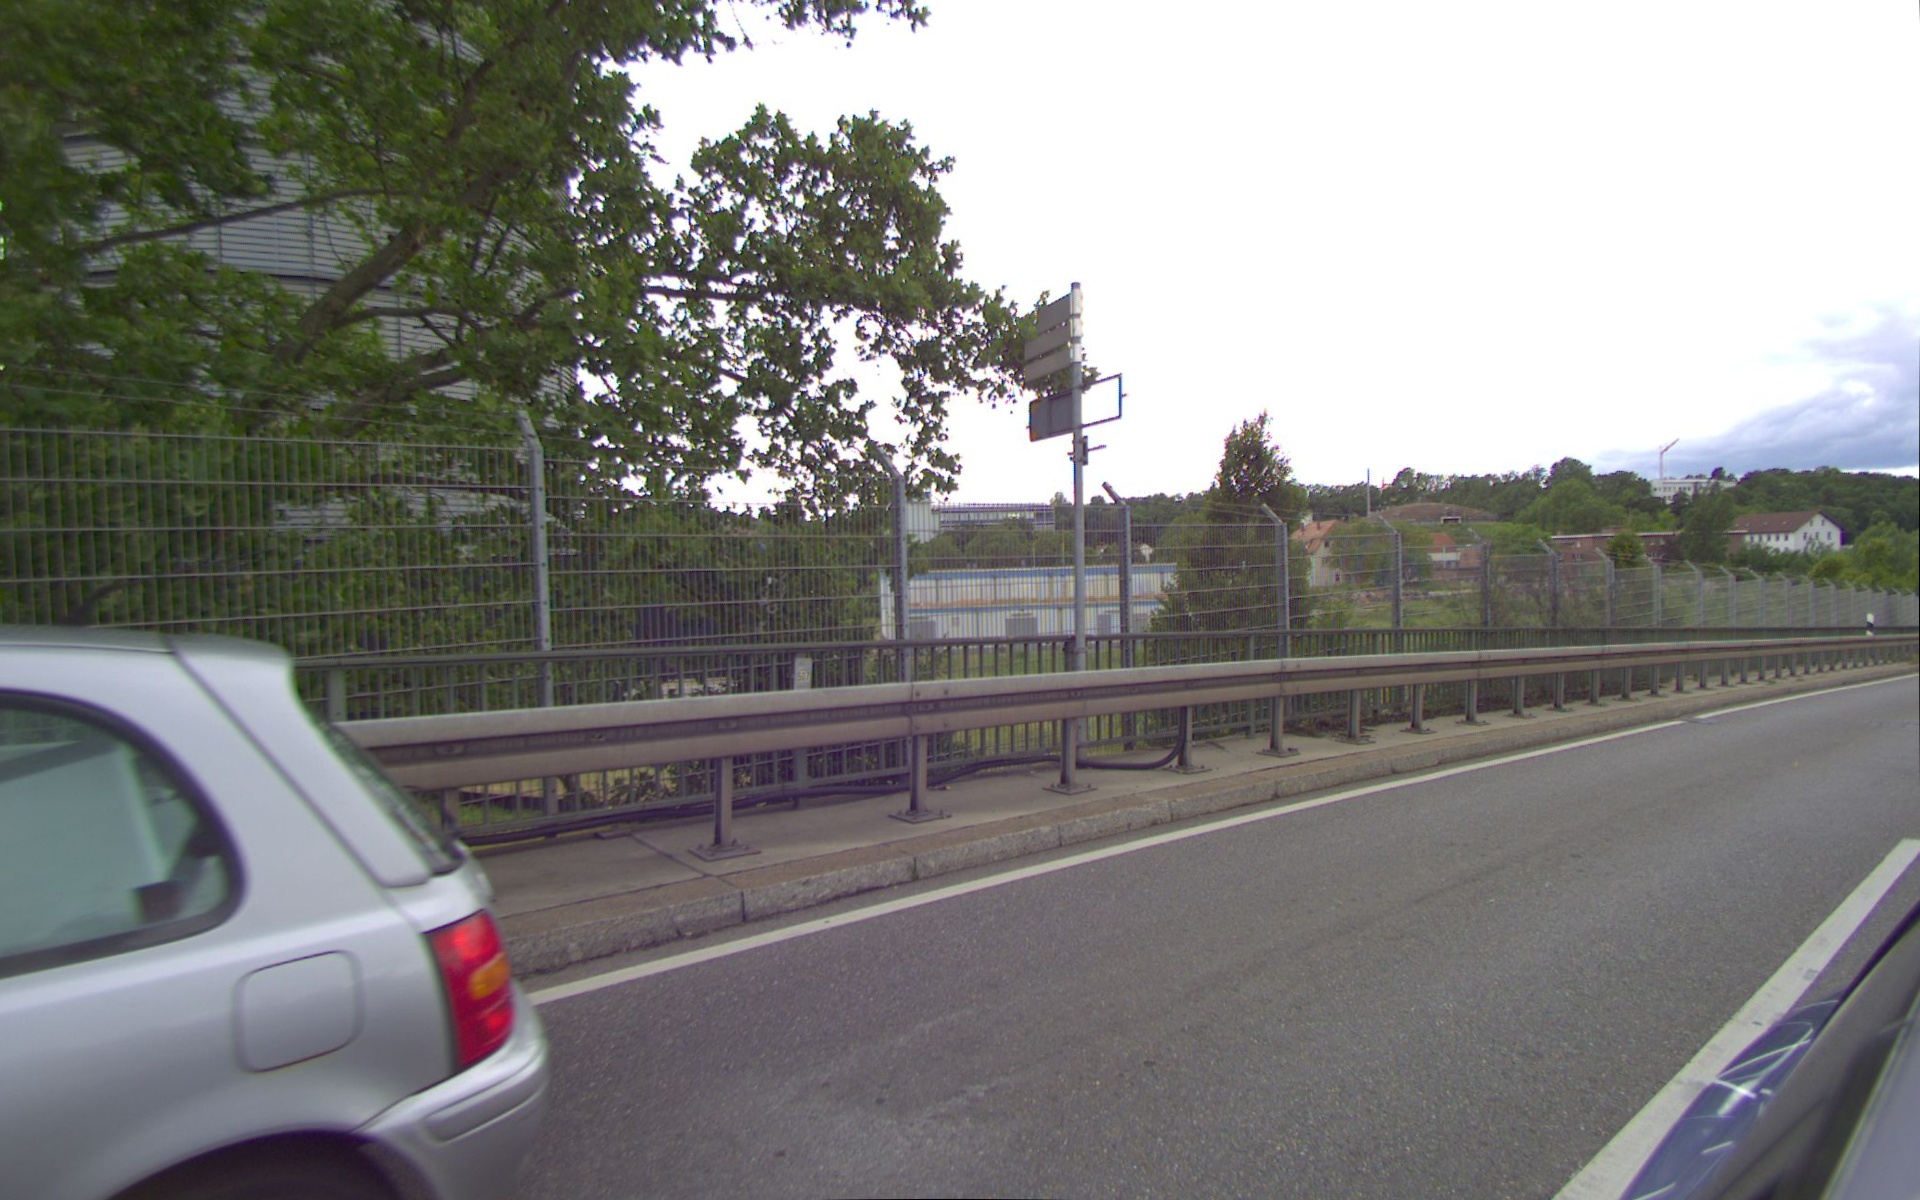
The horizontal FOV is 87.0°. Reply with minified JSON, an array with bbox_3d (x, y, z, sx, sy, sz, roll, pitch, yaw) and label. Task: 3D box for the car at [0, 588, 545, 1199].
[{"bbox_3d":[-2.547,0.713,1.340,3.384,1.449,1.587,-1,1,-42],"label":"car"}]
